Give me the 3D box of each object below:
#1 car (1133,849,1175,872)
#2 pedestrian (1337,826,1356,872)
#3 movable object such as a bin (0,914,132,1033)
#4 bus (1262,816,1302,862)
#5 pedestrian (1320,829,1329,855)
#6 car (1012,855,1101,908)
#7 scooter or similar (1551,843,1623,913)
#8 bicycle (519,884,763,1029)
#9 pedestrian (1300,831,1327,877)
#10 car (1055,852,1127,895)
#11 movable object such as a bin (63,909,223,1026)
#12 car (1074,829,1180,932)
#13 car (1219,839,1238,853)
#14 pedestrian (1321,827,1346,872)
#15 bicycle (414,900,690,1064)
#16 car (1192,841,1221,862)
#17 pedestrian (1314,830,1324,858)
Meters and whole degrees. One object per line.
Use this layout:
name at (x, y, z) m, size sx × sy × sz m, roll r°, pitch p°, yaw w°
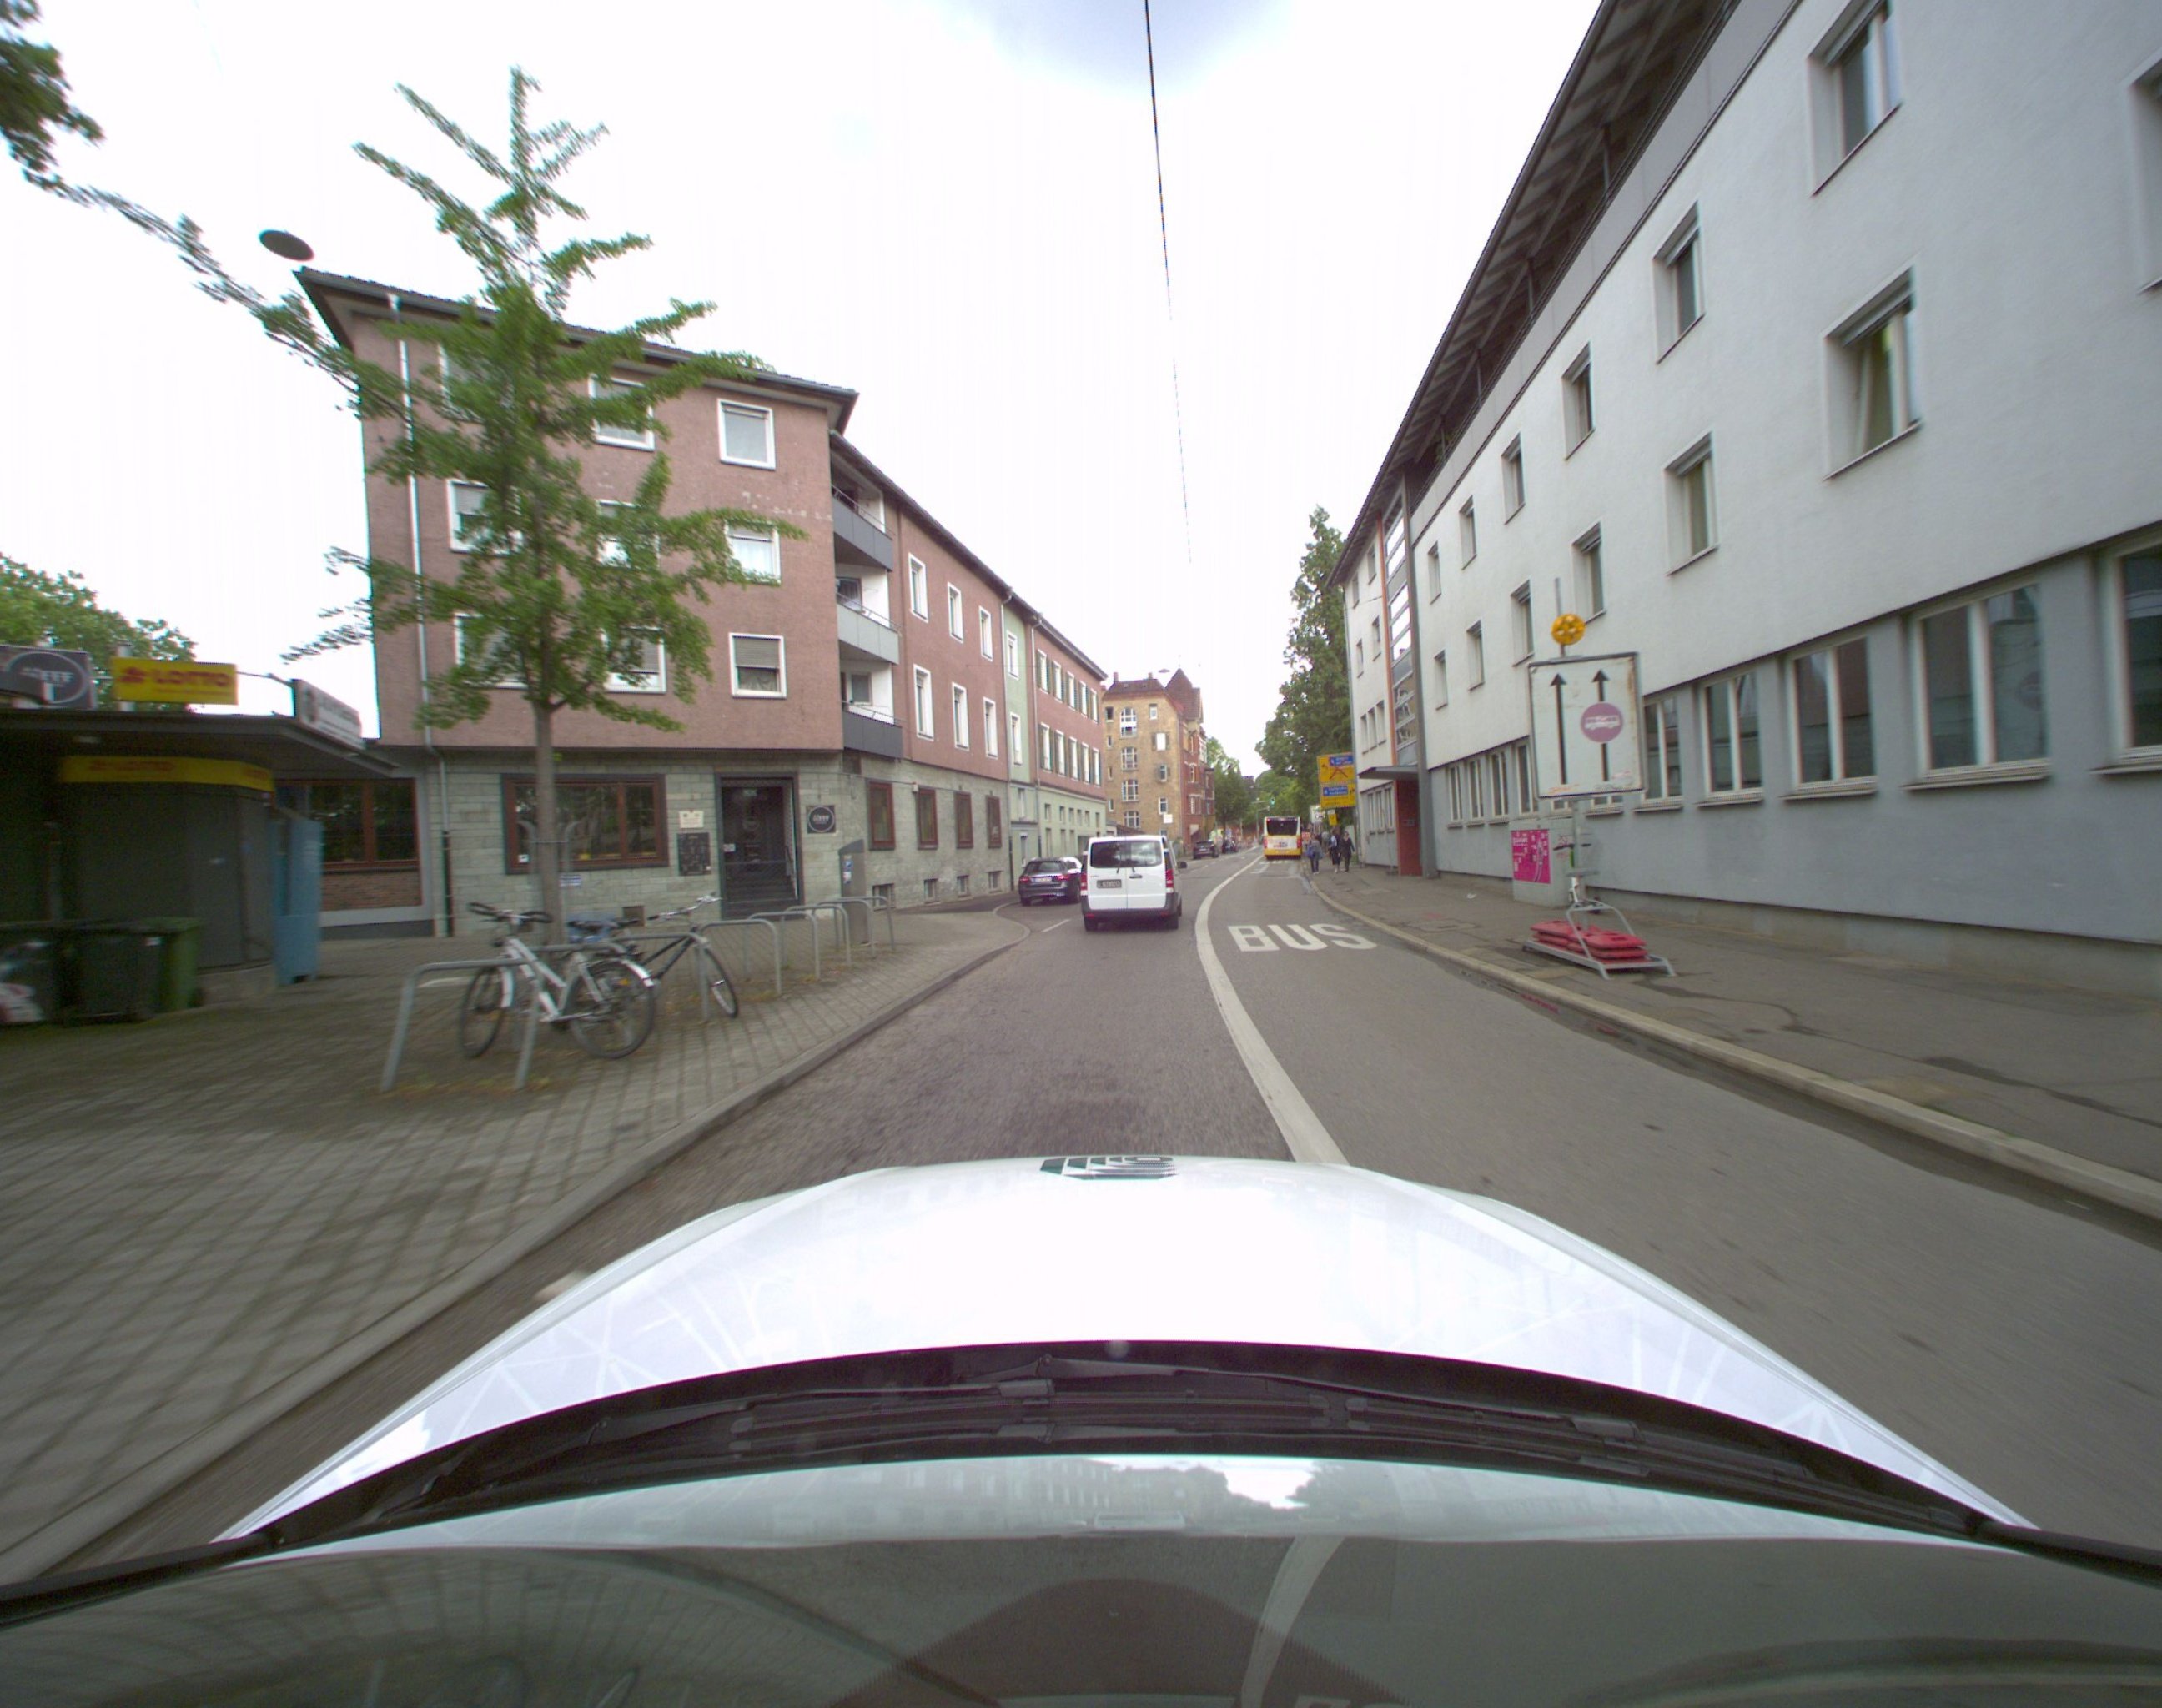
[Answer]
car at (4.315, 0.396, 47.518) m, size 1.980 × 1.290 × 4.013 m, roll 0°, pitch -1°, yaw 12°
pedestrian at (10.450, -0.191, 32.039) m, size 0.537 × 1.756 × 0.612 m, roll -5°, pitch 1°, yaw 22°
movable object such as a bin at (-9.915, 1.092, 7.640) m, size 0.970 × 0.964 × 1.102 m, roll 1°, pitch 0°, yaw -29°
bus at (15.312, -1.137, 61.474) m, size 2.643 × 3.136 × 10.082 m, roll -1°, pitch 1°, yaw 15°
pedestrian at (17.139, -0.859, 57.256) m, size 0.447 × 1.778 × 0.674 m, roll -6°, pitch -1°, yaw 15°
car at (-0.662, 0.809, 26.066) m, size 1.817 × 1.455 × 4.598 m, roll -3°, pitch 0°, yaw 11°
scooter or similar at (8.537, 0.373, 13.798) m, size 0.426 × 1.097 × 1.442 m, roll -4°, pitch 0°, yaw 8°
bicycle at (-3.939, 0.887, 7.432) m, size 1.802 × 1.176 × 0.722 m, roll -1°, pitch -1°, yaw -11°
pedestrian at (9.481, -0.011, 33.276) m, size 0.798 × 1.793 × 0.945 m, roll -5°, pitch 1°, yaw 9°
car at (0.500, 0.694, 31.775) m, size 1.817 × 1.455 × 4.938 m, roll -3°, pitch 0°, yaw 12°
movable object such as a bin at (-9.114, 1.065, 7.968) m, size 0.675 × 0.964 × 1.069 m, roll 1°, pitch 0°, yaw -29°
car at (1.143, 0.521, 17.600) m, size 1.907 × 1.901 × 4.711 m, roll 0°, pitch -1°, yaw 8°
car at (18.042, -0.964, 99.478) m, size 1.711 × 1.485 × 4.410 m, roll -2°, pitch 2°, yaw 16°
pedestrian at (10.282, -0.198, 33.176) m, size 0.683 × 1.756 × 0.880 m, roll -5°, pitch 1°, yaw 9°
bicycle at (-3.992, 0.923, 6.176) m, size 1.857 × 1.114 × 0.579 m, roll 0°, pitch 0°, yaw 11°
car at (11.356, -0.241, 73.436) m, size 1.939 × 1.733 × 4.793 m, roll -2°, pitch 1°, yaw 15°
pedestrian at (15.116, -0.631, 51.671) m, size 0.577 × 1.779 × 0.824 m, roll -1°, pitch 0°, yaw 14°
